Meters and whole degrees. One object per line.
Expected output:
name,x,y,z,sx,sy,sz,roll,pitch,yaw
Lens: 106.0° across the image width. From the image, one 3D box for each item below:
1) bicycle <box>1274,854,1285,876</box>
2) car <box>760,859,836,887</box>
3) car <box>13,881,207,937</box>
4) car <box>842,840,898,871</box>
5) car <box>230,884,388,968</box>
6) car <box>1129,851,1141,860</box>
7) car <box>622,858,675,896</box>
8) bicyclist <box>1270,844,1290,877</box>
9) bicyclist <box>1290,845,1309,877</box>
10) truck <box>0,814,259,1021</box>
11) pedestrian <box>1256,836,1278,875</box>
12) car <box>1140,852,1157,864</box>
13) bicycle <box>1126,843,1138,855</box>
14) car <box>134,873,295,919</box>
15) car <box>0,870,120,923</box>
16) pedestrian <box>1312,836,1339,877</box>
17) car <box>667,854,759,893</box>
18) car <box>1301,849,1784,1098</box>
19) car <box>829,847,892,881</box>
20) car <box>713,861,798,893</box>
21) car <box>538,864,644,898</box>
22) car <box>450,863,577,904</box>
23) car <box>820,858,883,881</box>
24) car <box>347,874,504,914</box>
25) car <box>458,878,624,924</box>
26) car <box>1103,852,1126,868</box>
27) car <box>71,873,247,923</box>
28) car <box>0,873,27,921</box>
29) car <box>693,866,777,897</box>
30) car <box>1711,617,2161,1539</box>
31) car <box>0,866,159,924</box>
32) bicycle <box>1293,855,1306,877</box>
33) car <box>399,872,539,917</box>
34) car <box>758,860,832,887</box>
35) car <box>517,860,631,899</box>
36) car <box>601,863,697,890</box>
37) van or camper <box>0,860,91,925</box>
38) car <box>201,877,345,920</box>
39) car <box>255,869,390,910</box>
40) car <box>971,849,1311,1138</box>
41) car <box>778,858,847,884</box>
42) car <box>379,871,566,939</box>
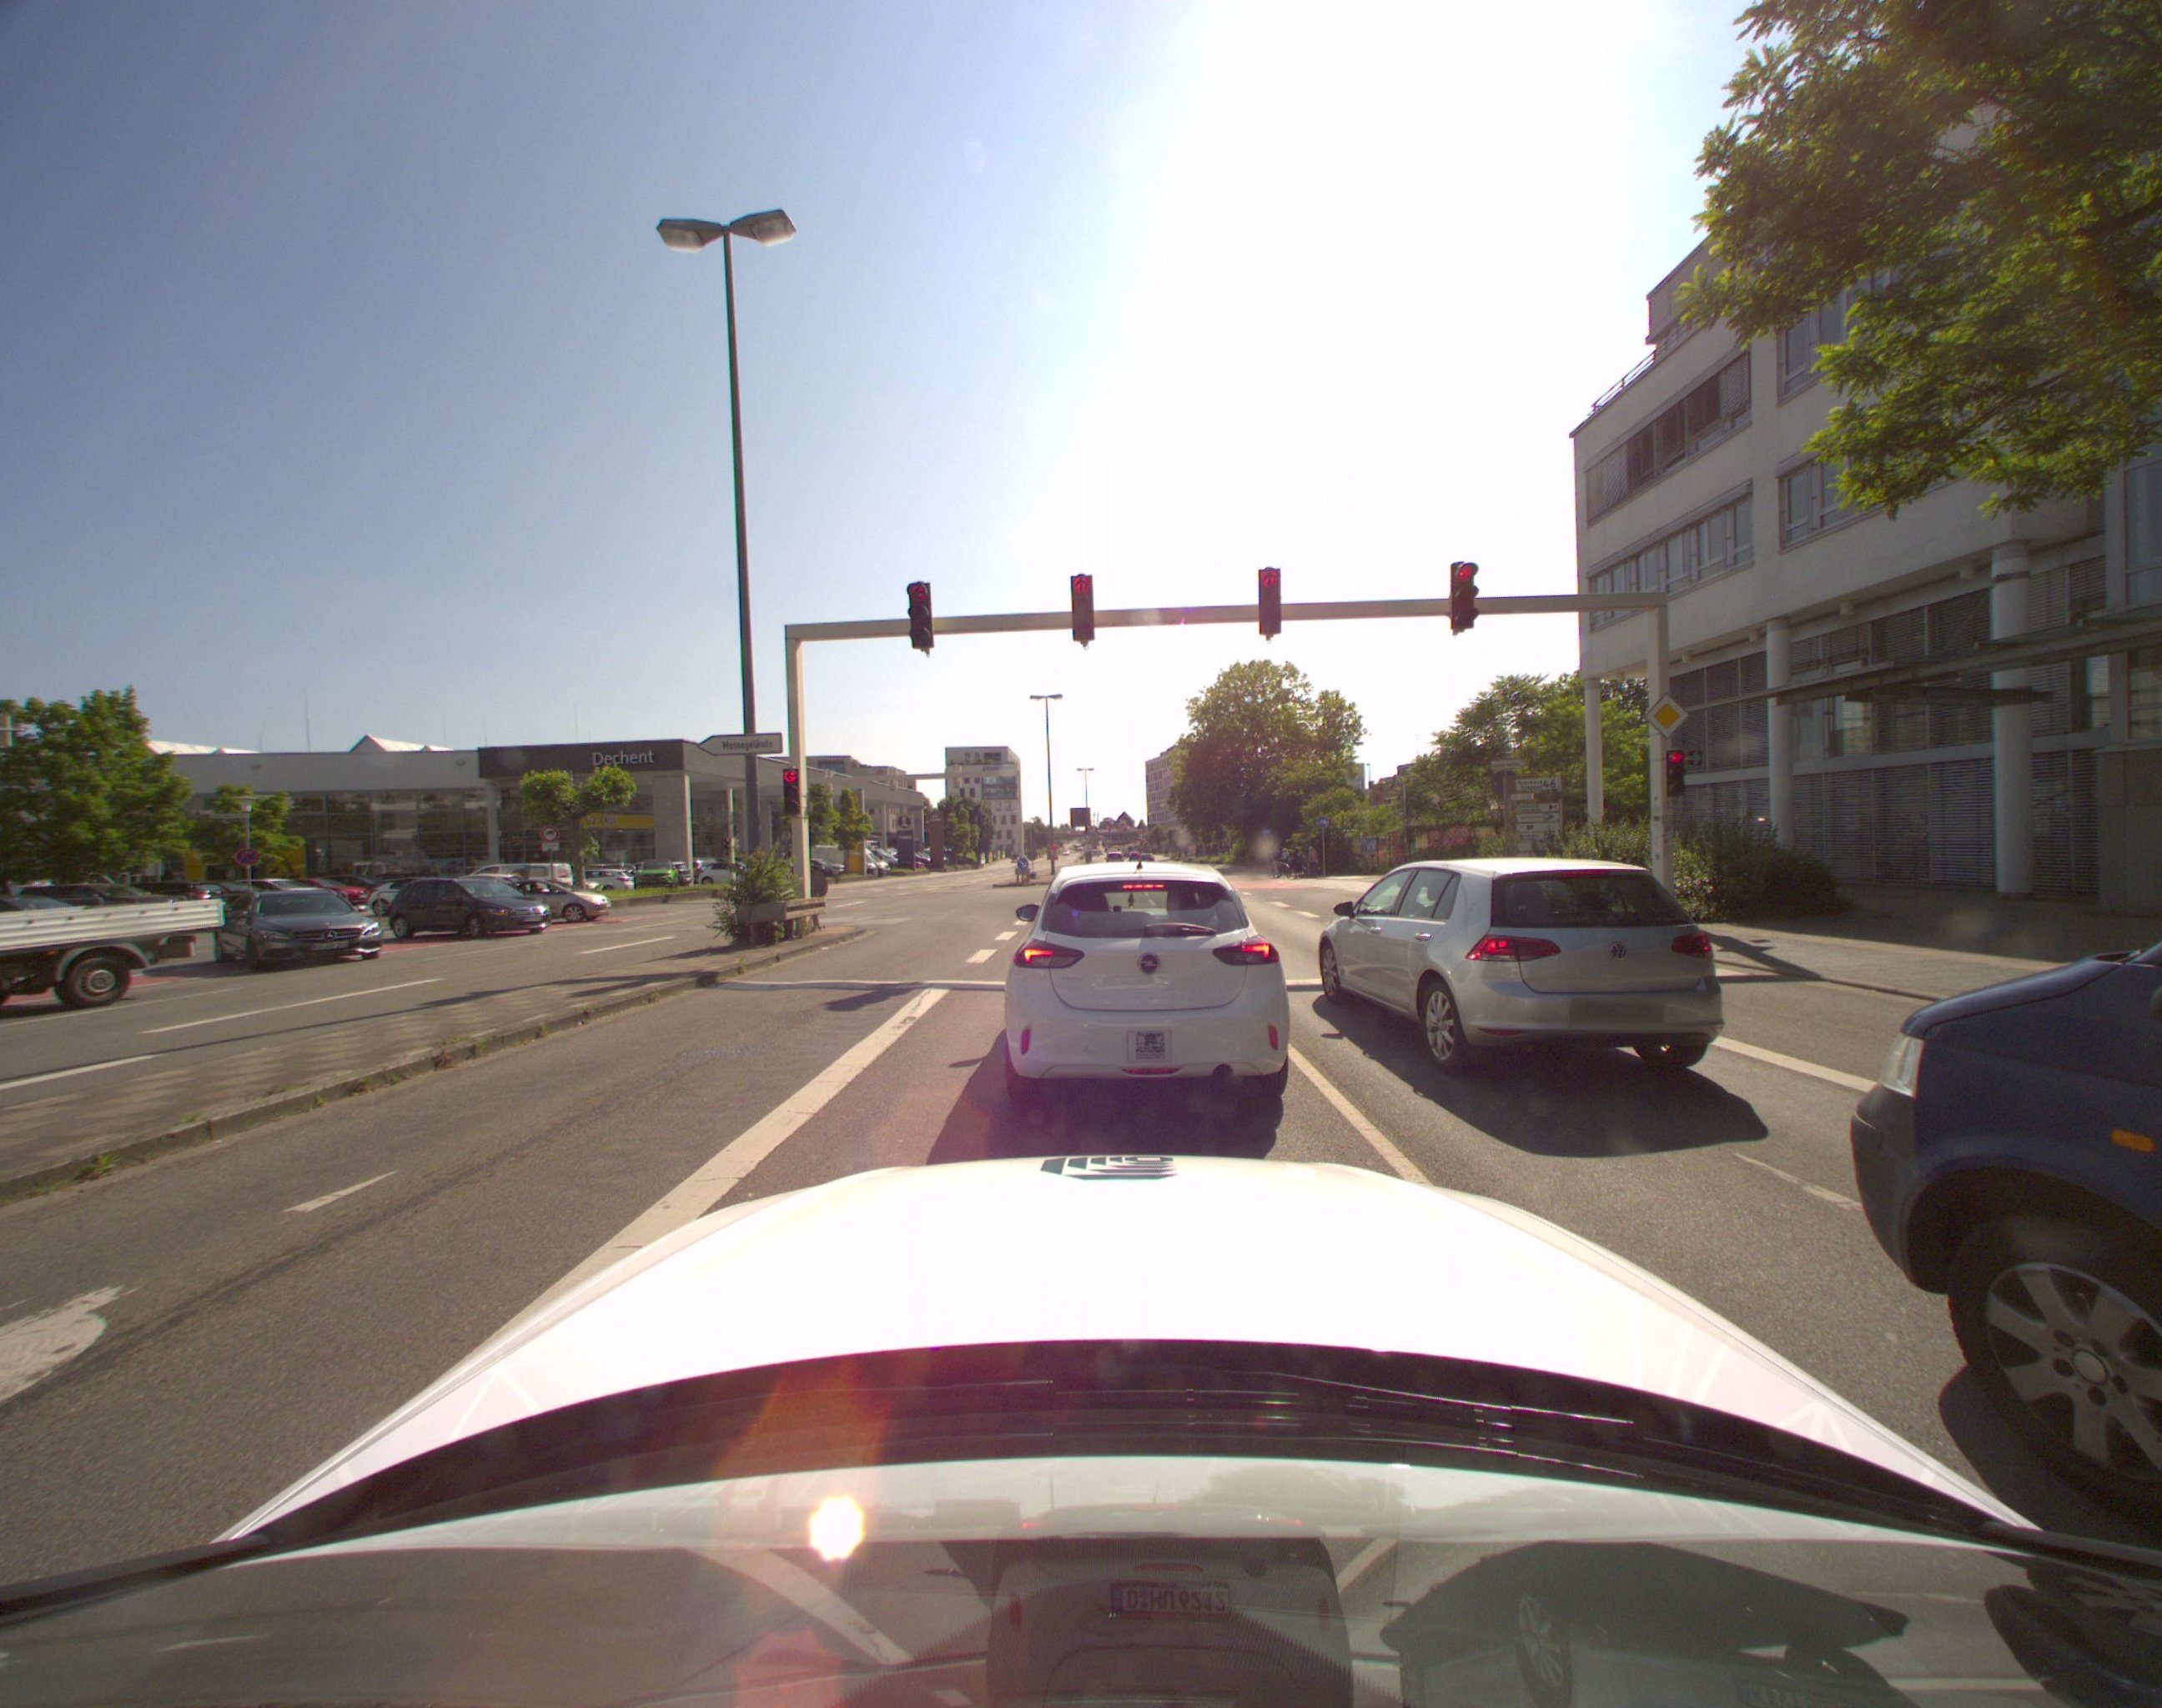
bicycle,10.889,0.611,44.731,0.371,1.216,1.154,0,0,2
car,-18.981,1.252,54.718,4.343,1.696,1.999,-2,0,-1
car,-35.021,1.951,29.494,4.348,1.696,1.997,-2,0,-4
car,-19.095,0.138,73.696,4.334,2.601,2.004,-2,0,6
car,-15.638,1.347,16.443,3.949,1.360,1.917,0,-1,41
car,8.825,0.268,132.412,1.799,1.386,4.001,0,-1,2
car,-21.252,1.140,39.966,1.915,1.733,3.258,-2,-1,-35
bicyclist,10.911,0.332,44.713,0.876,1.772,0.864,-2,0,1
bicyclist,11.554,0.377,42.991,0.687,1.643,0.775,-2,0,-7
truck,-14.482,0.839,9.743,2.346,2.545,6.445,-3,0,4
pedestrian,10.908,0.081,47.830,1.023,2.238,1.039,-2,0,1
car,7.588,0.465,91.894,1.799,1.386,4.001,0,-1,2
bicycle,9.742,-0.968,155.091,1.986,2.157,4.001,-2,0,1
car,-36.329,1.731,34.258,4.348,1.696,1.997,-2,0,-4
car,-43.162,1.746,33.710,3.984,2.013,1.995,-2,0,-8
pedestrian,12.380,0.122,41.298,1.023,2.013,1.039,-2,0,1
car,-19.258,1.012,42.788,3.859,1.837,1.999,-2,0,-1
car,3.310,0.730,6.888,1.801,1.429,4.000,-2,0,0
car,-18.469,0.815,68.363,4.469,2.684,2.134,-2,0,10
car,-19.777,1.366,49.587,4.284,1.765,1.999,-2,0,-1
car,-26.157,1.410,43.596,4.352,1.591,1.996,-2,0,-7
car,-26.508,1.363,38.177,4.353,1.696,1.995,-2,0,-7
car,-18.547,1.220,65.916,4.334,1.696,2.004,-2,0,6
car,-25.541,1.523,31.871,4.348,1.299,1.997,-2,0,-4
car,-17.219,1.463,26.189,3.995,1.331,1.989,0,-1,-16
car,3.031,0.587,74.931,1.801,1.386,3.996,-1,-2,-2
car,-36.115,1.695,32.012,4.348,1.696,1.997,-2,0,-4
car,-40.607,1.602,28.344,4.371,1.696,1.987,-2,0,-20
car,-19.878,1.558,46.955,3.981,1.599,1.996,-2,0,-6
car,3.218,0.443,0.465,1.986,1.948,4.893,-2,0,2
car,-28.928,1.148,22.642,3.983,1.442,1.995,-2,0,-7
bicycle,11.525,0.642,42.938,0.372,1.147,1.034,0,-1,0
car,-26.365,1.711,35.217,4.348,1.696,1.997,-2,0,-4
car,-19.968,1.354,56.970,4.344,1.696,1.999,-2,0,-1
car,-25.376,1.255,40.908,4.353,1.696,1.995,-2,0,-7
car,-24.703,1.284,46.690,4.352,1.268,1.995,-3,-2,-7
van or camper,-41.947,1.501,31.351,4.711,2.400,1.995,-2,0,-8
car,-36.636,1.980,37.027,4.348,1.696,1.997,-2,0,-4
car,-36.619,1.694,39.426,4.352,1.696,1.995,-2,0,-7
car,0.377,0.744,6.364,1.773,1.494,4.001,-2,0,2
car,-19.786,1.257,60.134,4.344,1.696,1.999,-2,0,-1
car,-16.232,1.355,21.764,4.088,1.617,1.900,-2,0,17
